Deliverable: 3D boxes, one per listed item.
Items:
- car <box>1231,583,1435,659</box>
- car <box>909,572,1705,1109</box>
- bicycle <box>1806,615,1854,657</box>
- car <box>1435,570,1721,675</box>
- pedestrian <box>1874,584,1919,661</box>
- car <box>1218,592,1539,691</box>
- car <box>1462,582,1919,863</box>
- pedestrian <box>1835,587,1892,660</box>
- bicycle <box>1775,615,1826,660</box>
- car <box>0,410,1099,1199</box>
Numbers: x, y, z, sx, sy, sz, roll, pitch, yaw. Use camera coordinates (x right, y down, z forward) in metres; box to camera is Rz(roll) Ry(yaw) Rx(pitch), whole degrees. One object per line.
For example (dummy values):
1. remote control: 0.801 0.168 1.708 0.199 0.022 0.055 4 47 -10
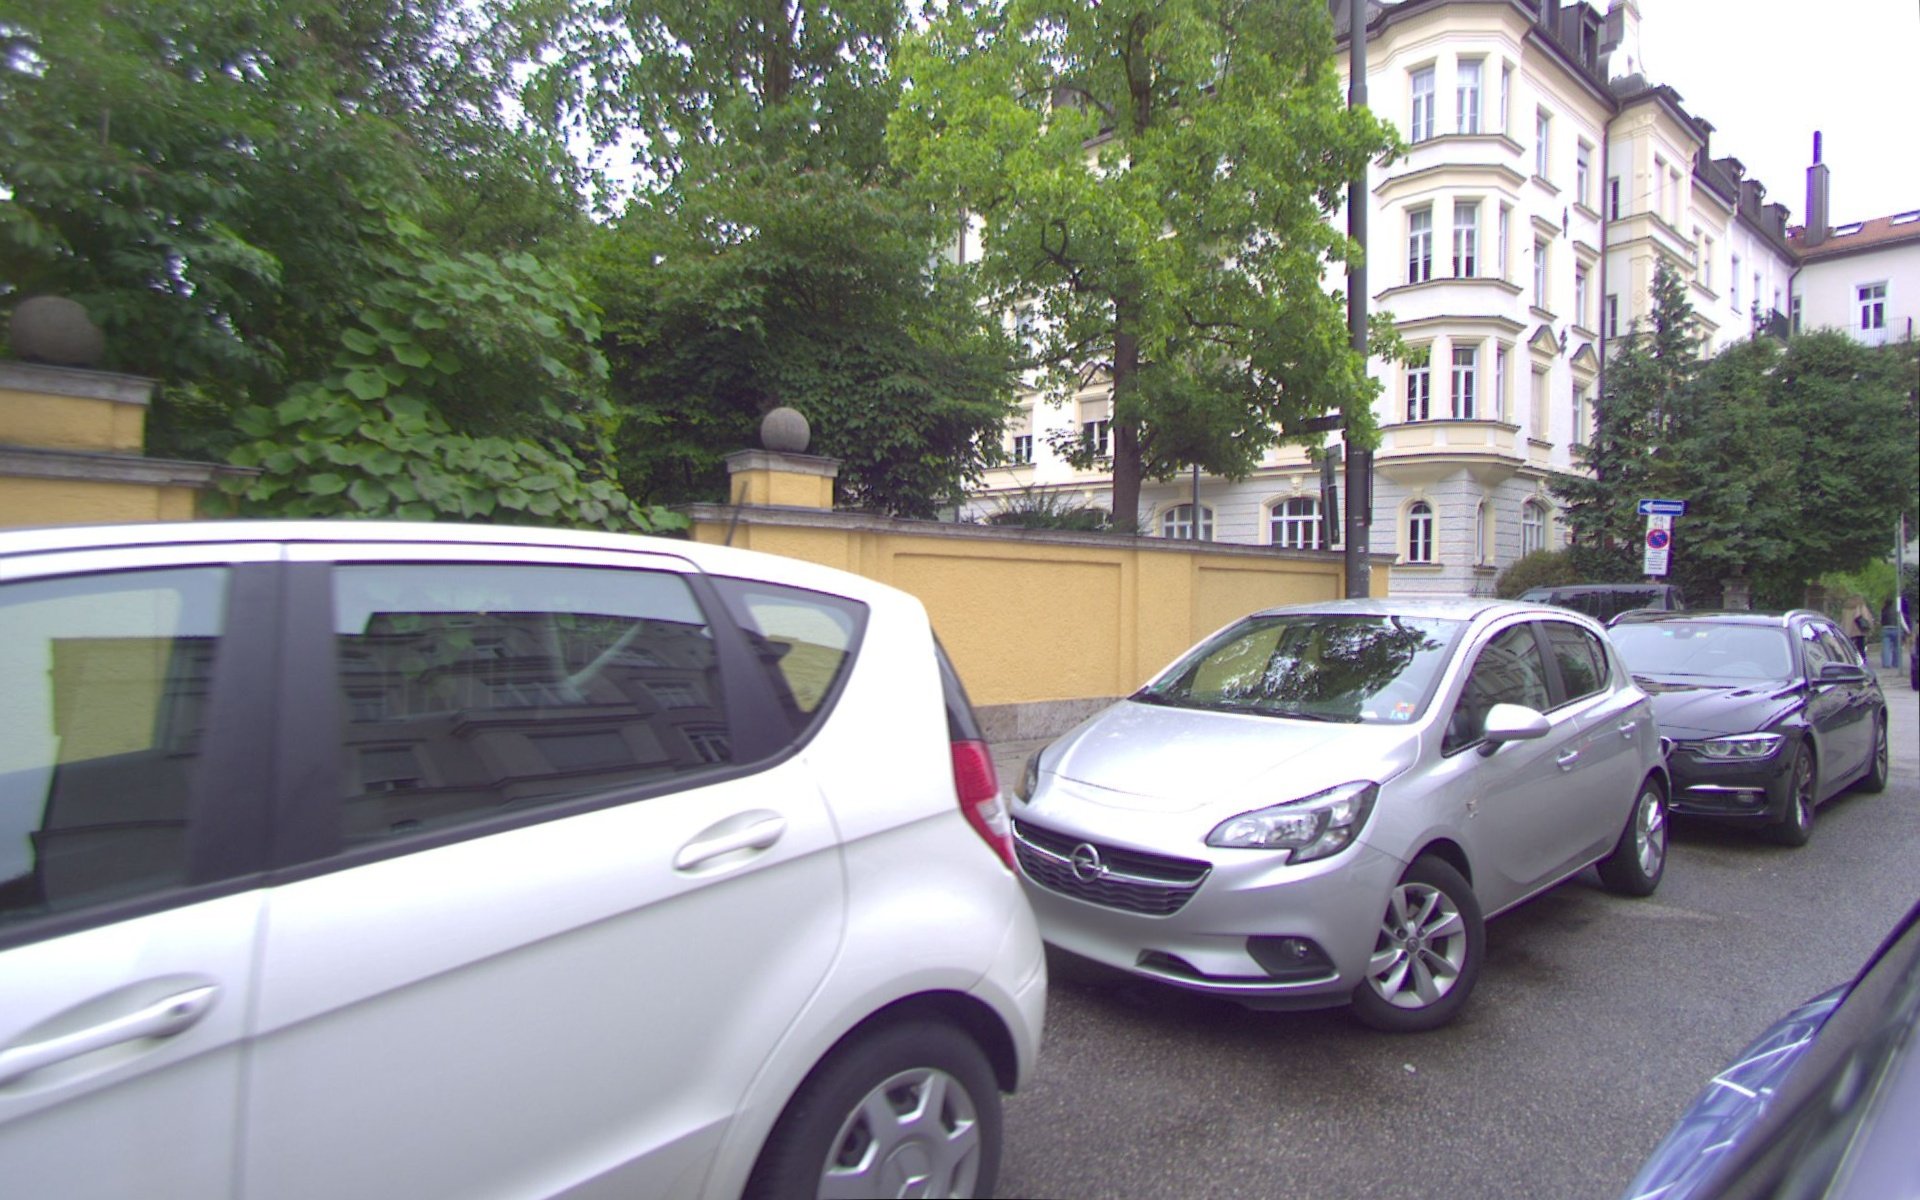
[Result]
1. car: 8.813 0.472 24.147 1.713 1.607 4.216 4 -1 -44
2. car: 1.909 0.646 4.779 4.110 1.471 1.716 0 1 -41
3. bicycle: 21.746 0.895 25.279 1.745 0.997 0.449 0 0 -34
4. car: 12.430 0.401 20.599 1.713 1.896 4.669 4 -1 -44
5. pedestrian: 22.119 0.510 23.726 1.033 1.778 0.876 0 0 -39
6. car: 7.179 0.623 17.796 4.941 1.430 1.714 2 1 44
7. car: 5.707 0.640 7.603 4.868 1.471 1.716 0 1 -41
8. pedestrian: 21.774 0.540 24.381 1.033 1.711 0.876 0 0 -39
9. bicycle: 19.808 0.870 23.834 1.745 0.997 0.449 0 0 -34
10. car: -1.849 0.566 1.580 4.244 1.590 1.716 0 1 -41
